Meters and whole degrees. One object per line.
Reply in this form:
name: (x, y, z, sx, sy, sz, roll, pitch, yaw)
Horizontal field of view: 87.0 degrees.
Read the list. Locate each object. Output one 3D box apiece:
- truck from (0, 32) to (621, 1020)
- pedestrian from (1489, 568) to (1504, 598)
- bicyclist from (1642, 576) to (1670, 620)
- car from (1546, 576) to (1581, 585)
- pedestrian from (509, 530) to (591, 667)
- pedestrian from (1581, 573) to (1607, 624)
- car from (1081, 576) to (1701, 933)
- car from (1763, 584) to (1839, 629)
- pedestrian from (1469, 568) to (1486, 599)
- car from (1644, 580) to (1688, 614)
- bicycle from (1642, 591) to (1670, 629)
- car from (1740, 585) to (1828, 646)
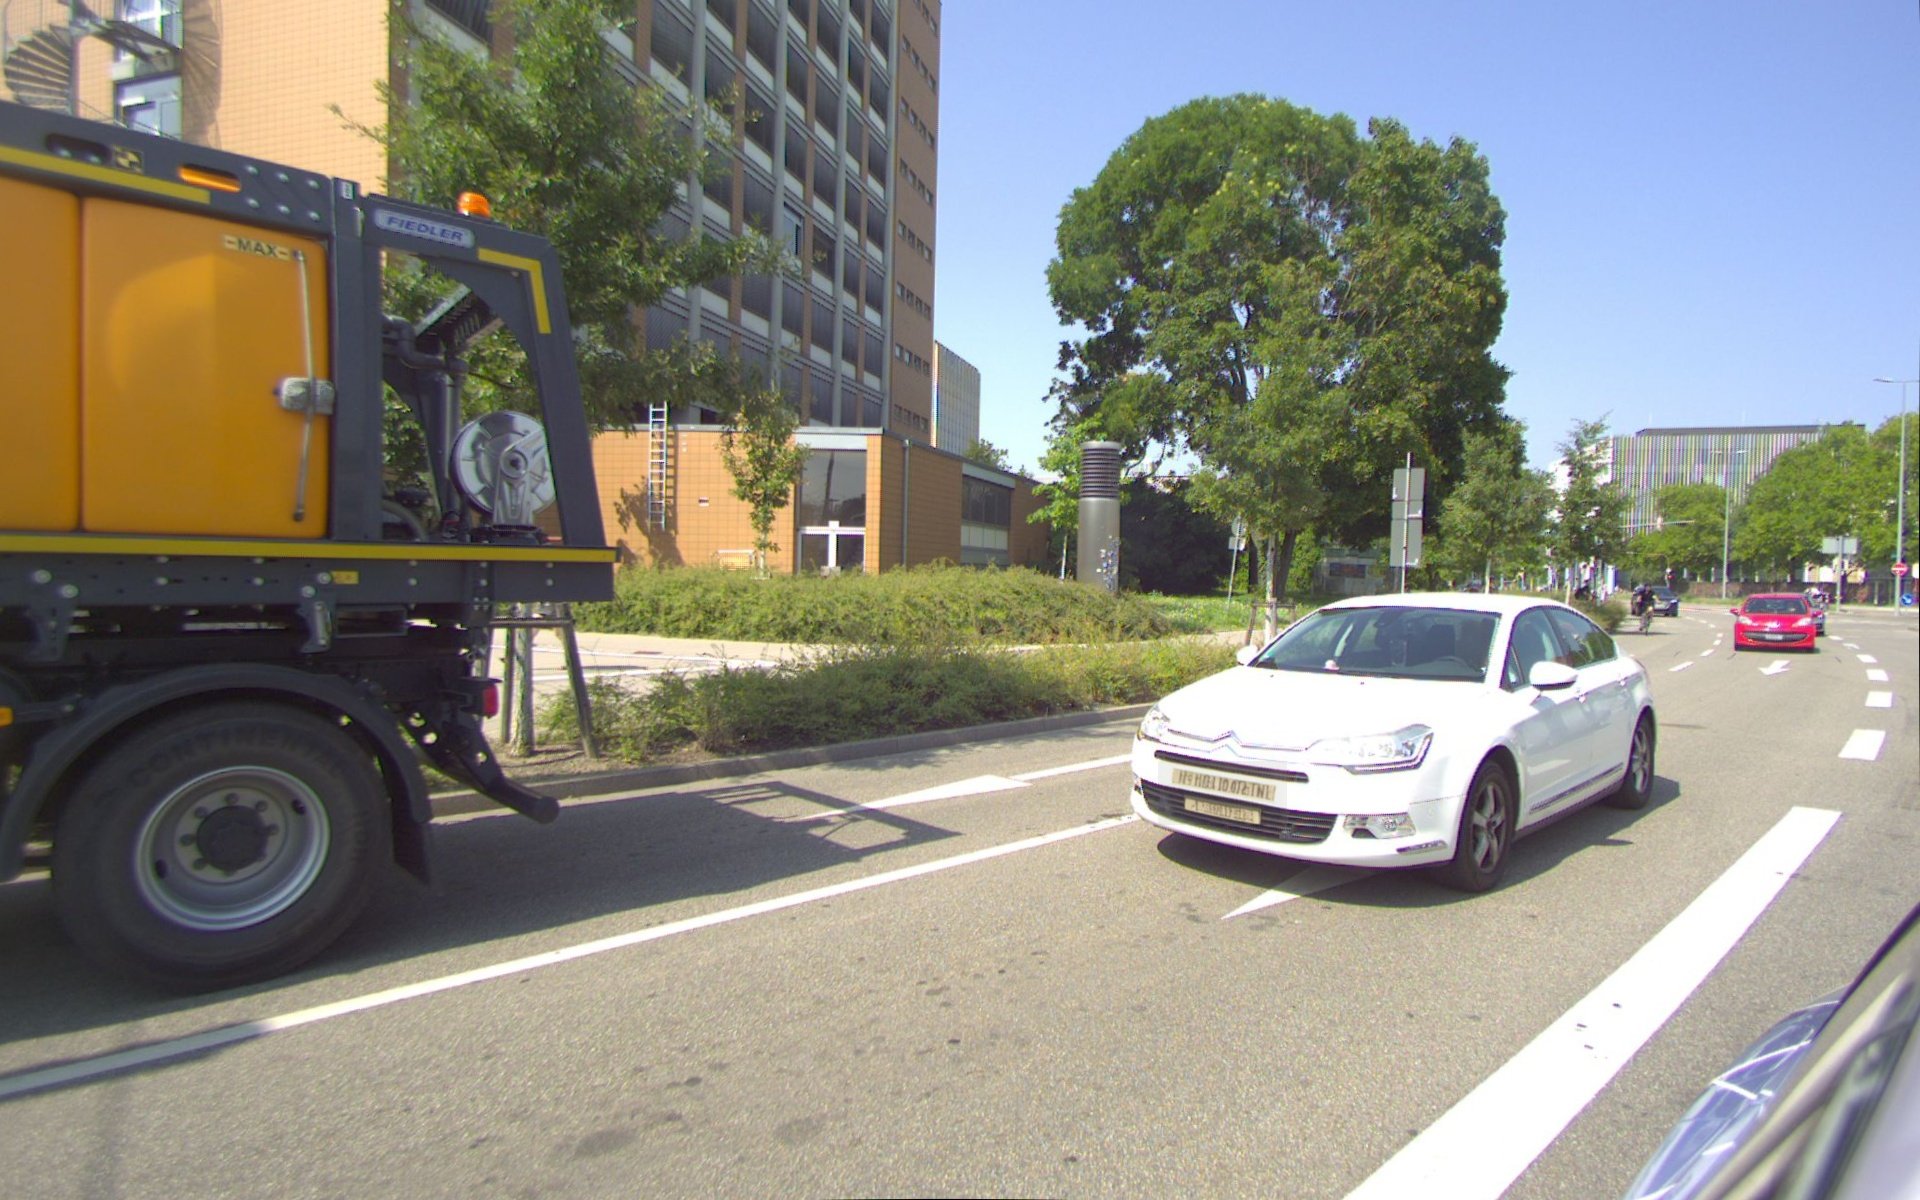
truck: (-4.898, -0.259, 3.334, 6.741, 3.173, 2.497, -1, 2, -41)
pedestrian: (23.136, -0.728, 43.641, 0.571, 1.315, 0.433, -1, 0, 29)
bicyclist: (23.176, -0.075, 33.710, 0.674, 1.417, 1.037, 2, 1, 32)
car: (93.886, -3.064, 157.552, 4.350, 1.405, 1.766, 0, 0, 11)
pedestrian: (-5.335, -0.033, 13.168, 0.792, 1.720, 0.671, 0, 2, -43)
pedestrian: (24.648, -0.064, 39.351, 0.818, 1.926, 0.623, 2, 1, 35)
car: (2.950, 0.605, 6.347, 4.529, 1.446, 1.772, -1, 2, -41)
car: (28.336, 0.179, 34.178, 1.554, 1.412, 3.211, 2, 2, 33)
pedestrian: (22.486, -0.715, 44.001, 0.629, 1.315, 0.482, -1, 0, 30)
car: (38.201, -0.182, 54.731, 1.801, 1.682, 3.948, 3, 3, 36)
bicycle: (23.159, 0.310, 33.704, 0.590, 1.183, 2.211, 2, 2, 31)
car: (21.307, 0.337, 26.119, 1.644, 1.449, 3.759, 1, 1, 41)
